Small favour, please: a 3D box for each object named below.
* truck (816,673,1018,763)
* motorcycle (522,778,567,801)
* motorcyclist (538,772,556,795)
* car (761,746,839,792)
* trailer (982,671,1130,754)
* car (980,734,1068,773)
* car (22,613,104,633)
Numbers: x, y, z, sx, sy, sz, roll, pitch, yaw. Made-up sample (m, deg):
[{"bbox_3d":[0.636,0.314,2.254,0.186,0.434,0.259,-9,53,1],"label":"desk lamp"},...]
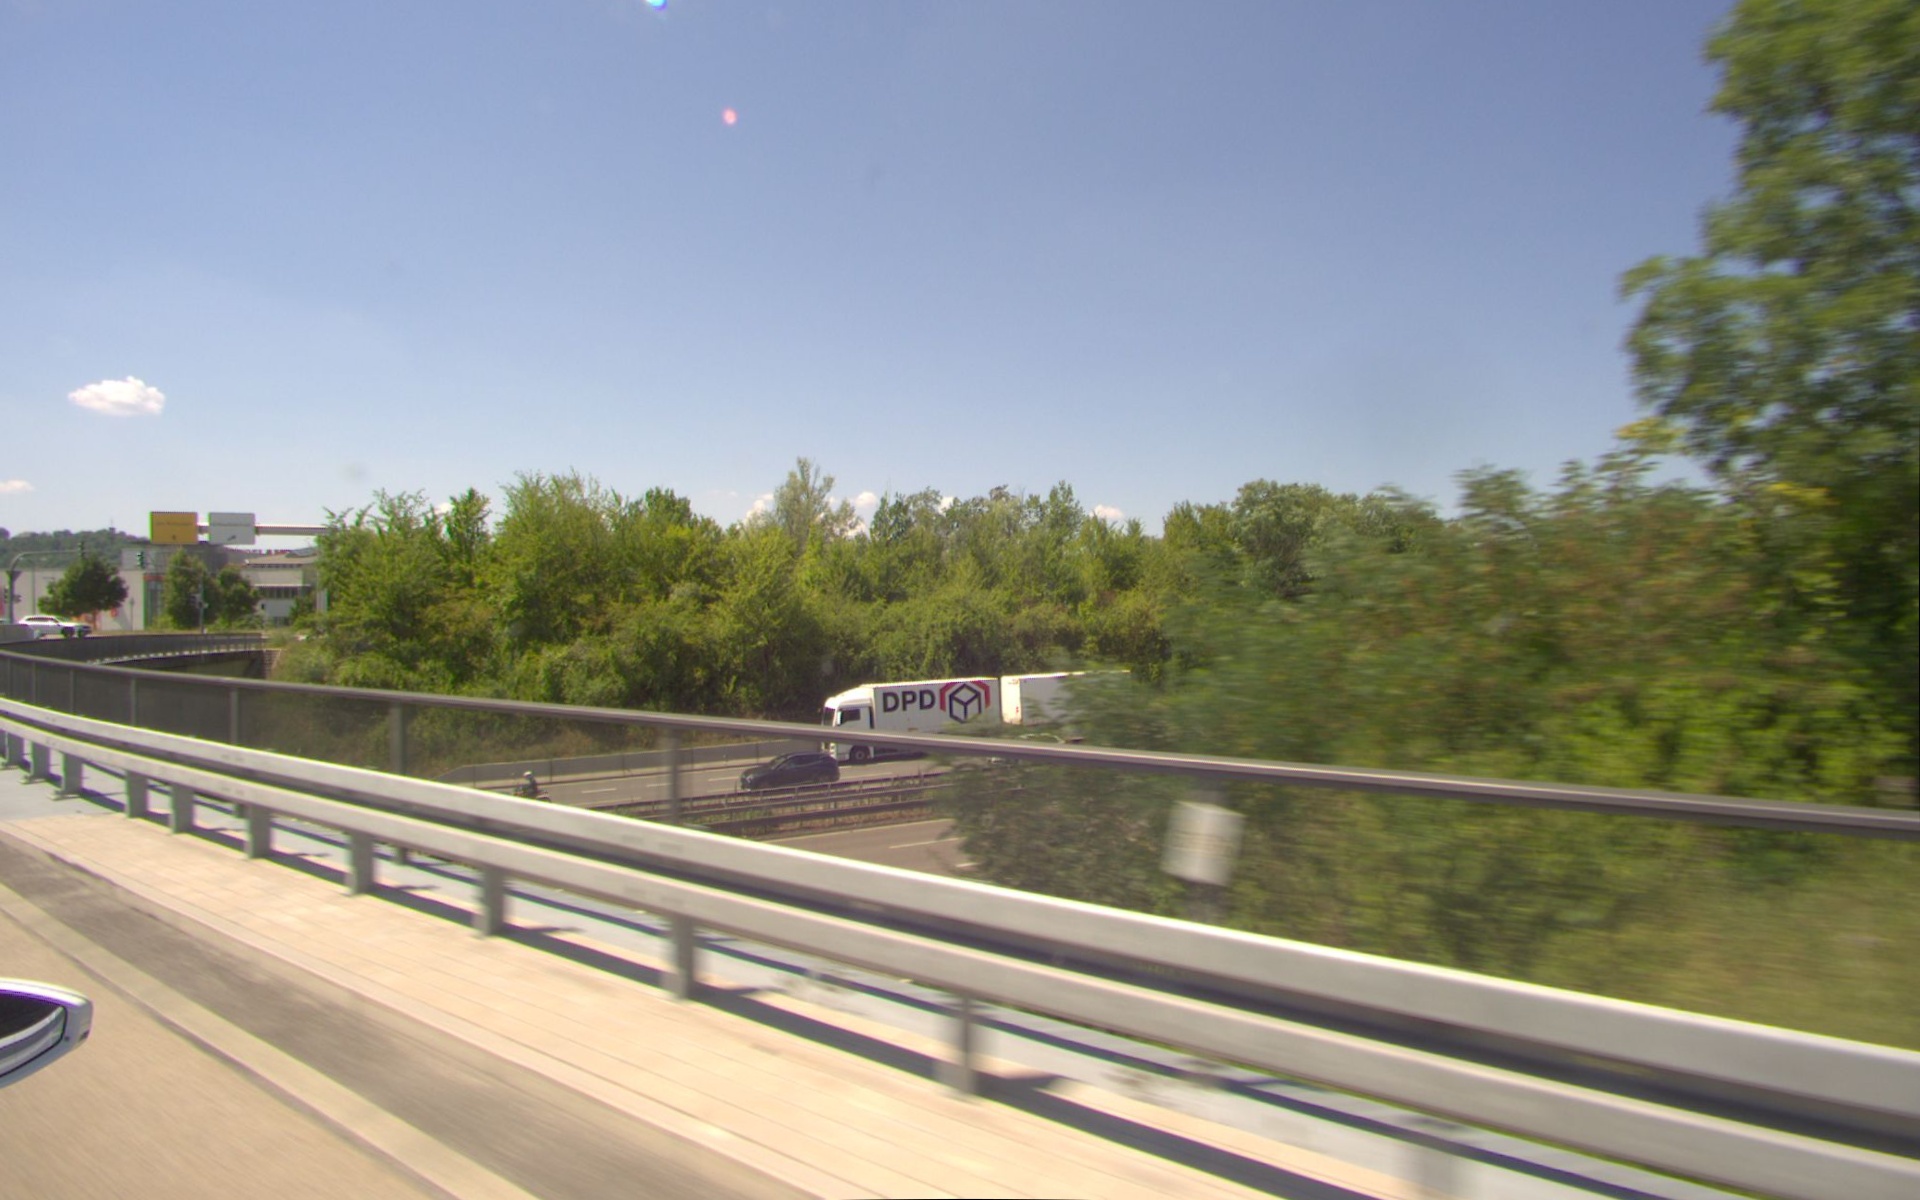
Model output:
[{"bbox_3d":[-2.299,6.344,55.177,10.835,4.403,2.891,1,-2,-24],"label":"truck"},{"bbox_3d":[-17.138,7.821,41.348,1.724,0.798,0.402,1,-1,-23],"label":"motorcycle"},{"bbox_3d":[-17.077,7.565,41.387,0.661,0.865,0.395,0,-1,-23],"label":"motorcyclist"},{"bbox_3d":[-7.194,7.547,44.968,3.183,1.698,1.712,1,-2,-20],"label":"car"},{"bbox_3d":[5.658,6.462,58.665,8.258,4.403,2.891,1,-2,-23],"label":"trailer"},{"bbox_3d":[3.208,7.697,50.462,4.077,1.573,1.789,1,-2,-23],"label":"car"},{"bbox_3d":[-69.211,1.793,77.304,4.313,1.524,2.000,0,-2,-9],"label":"car"}]
